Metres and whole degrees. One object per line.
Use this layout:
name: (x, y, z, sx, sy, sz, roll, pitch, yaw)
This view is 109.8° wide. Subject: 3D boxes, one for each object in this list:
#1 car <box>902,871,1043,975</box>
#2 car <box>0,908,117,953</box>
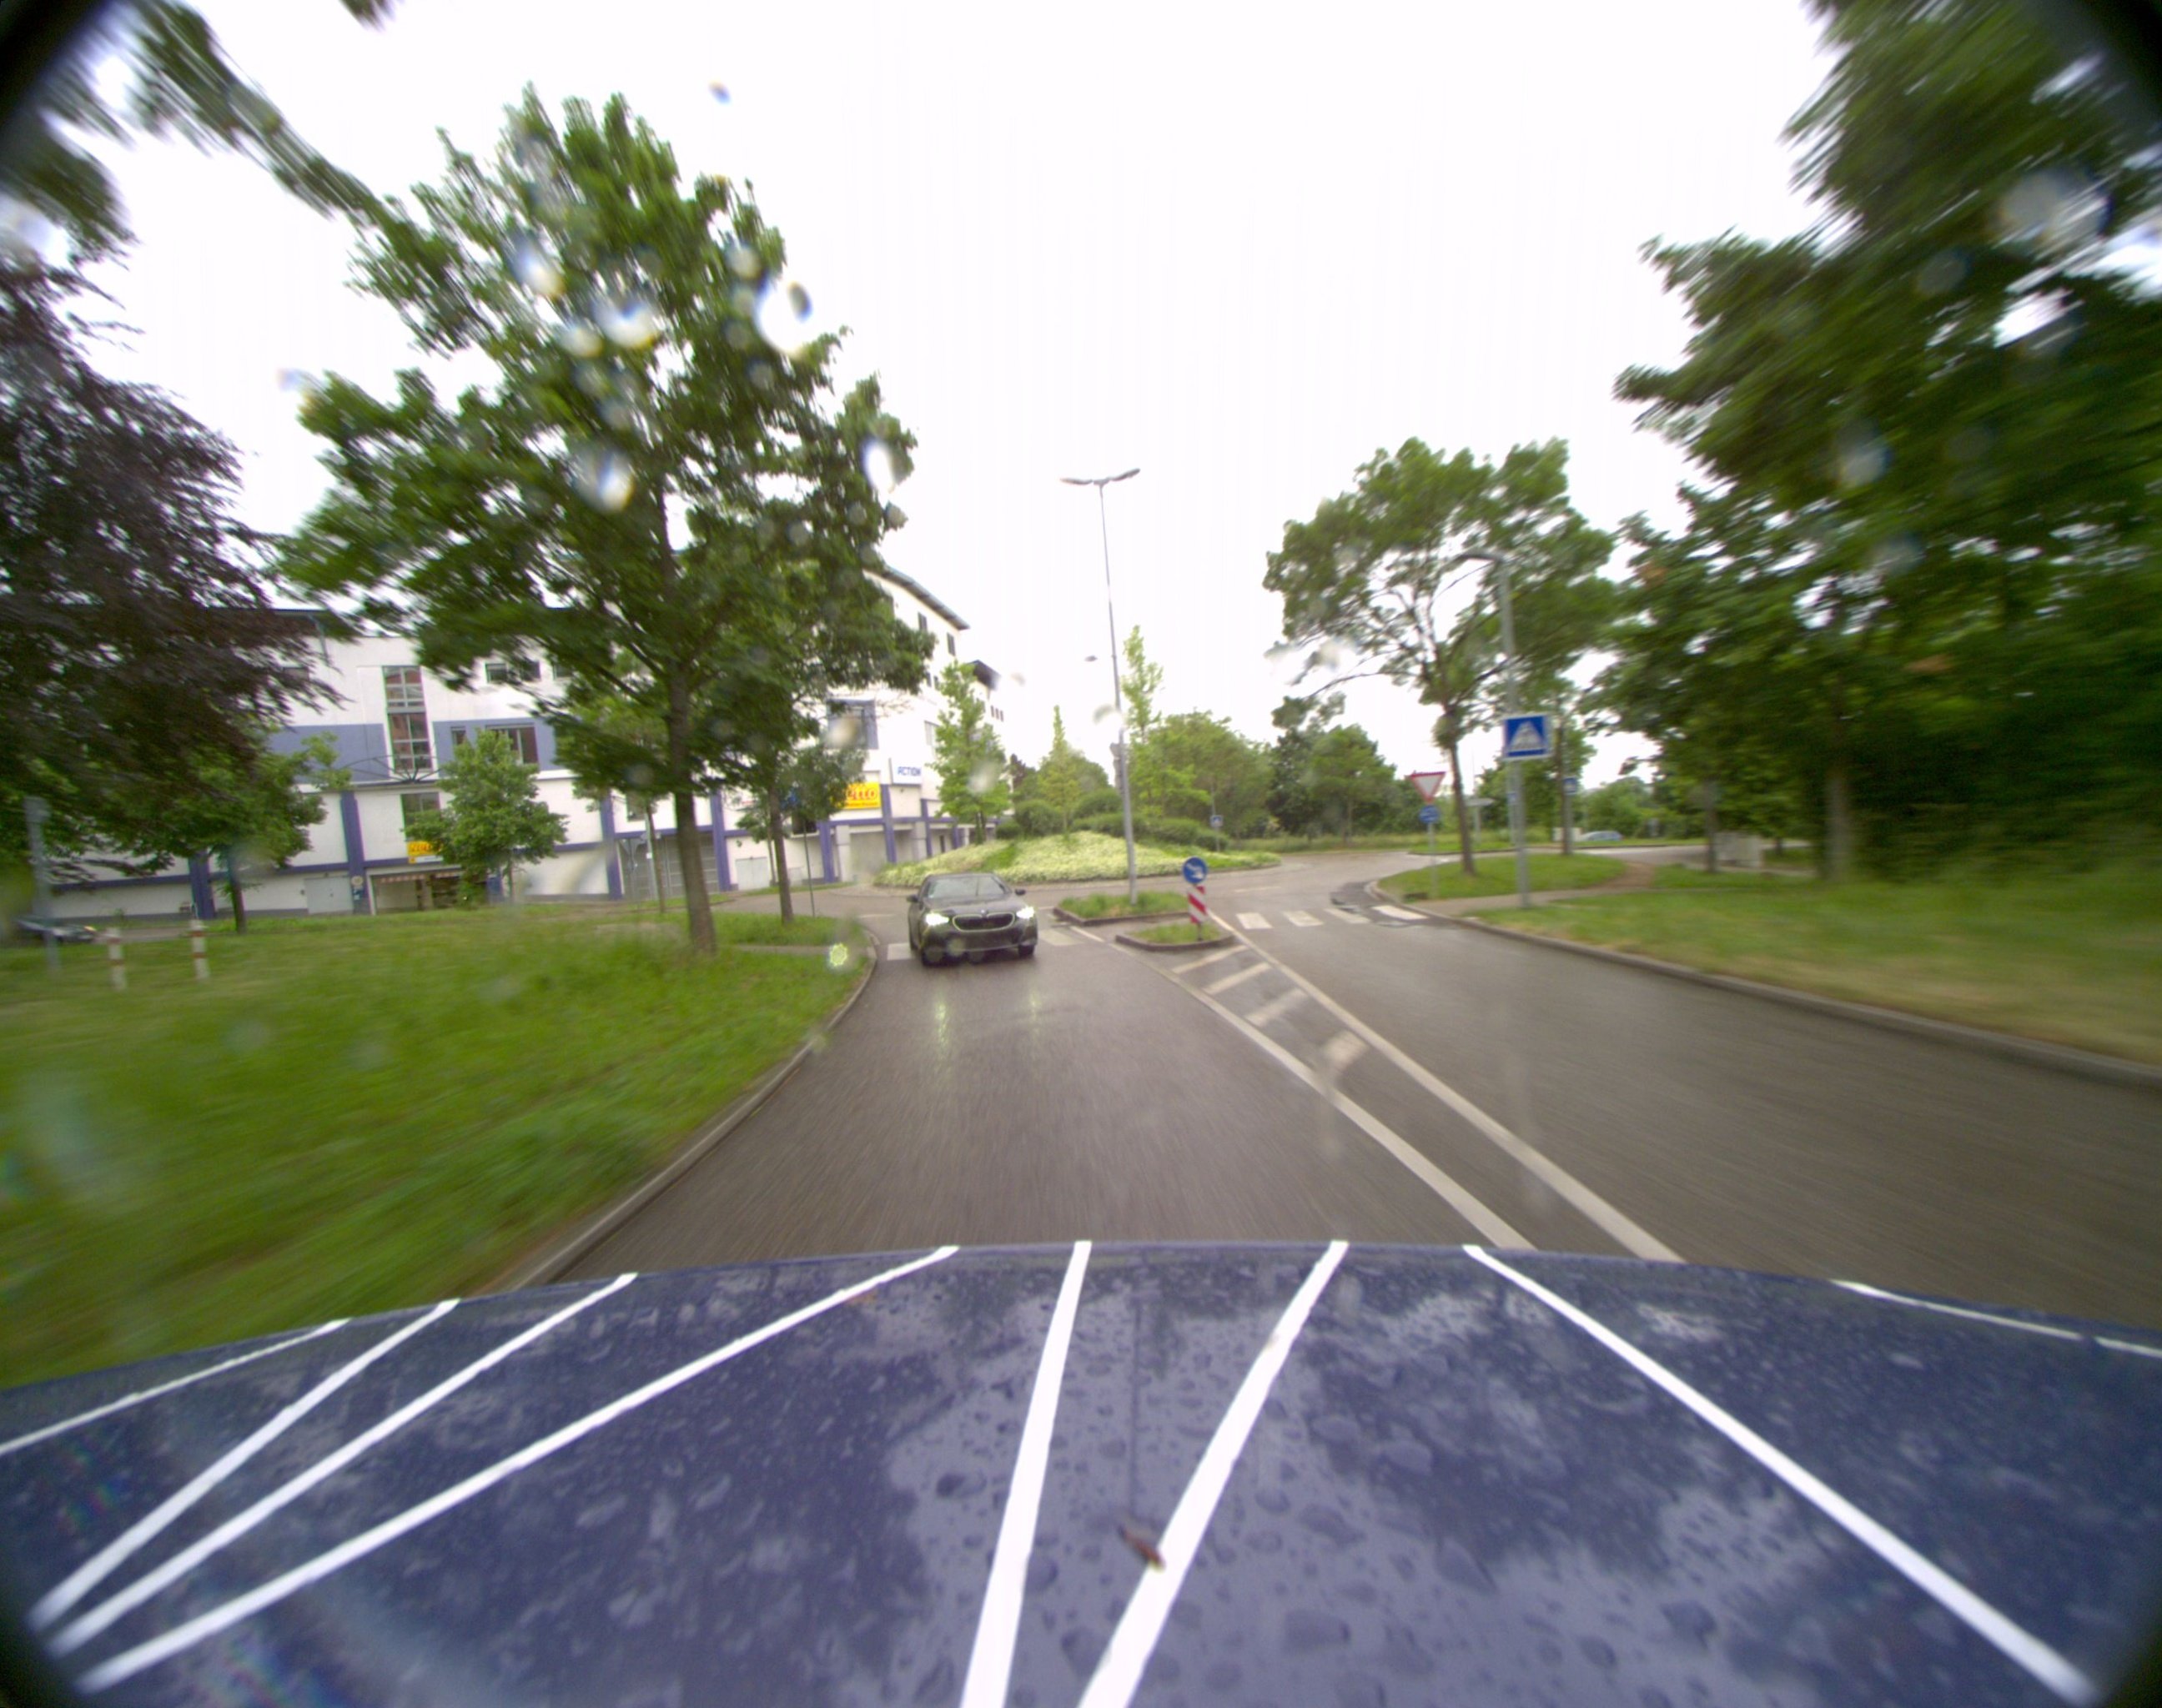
car: (-2.096, 1.133, 13.626, 1.847, 1.471, 3.996, -3, -1, -17)
car: (-39.056, 2.862, 27.977, 4.003, 1.401, 1.797, -3, 0, -21)
